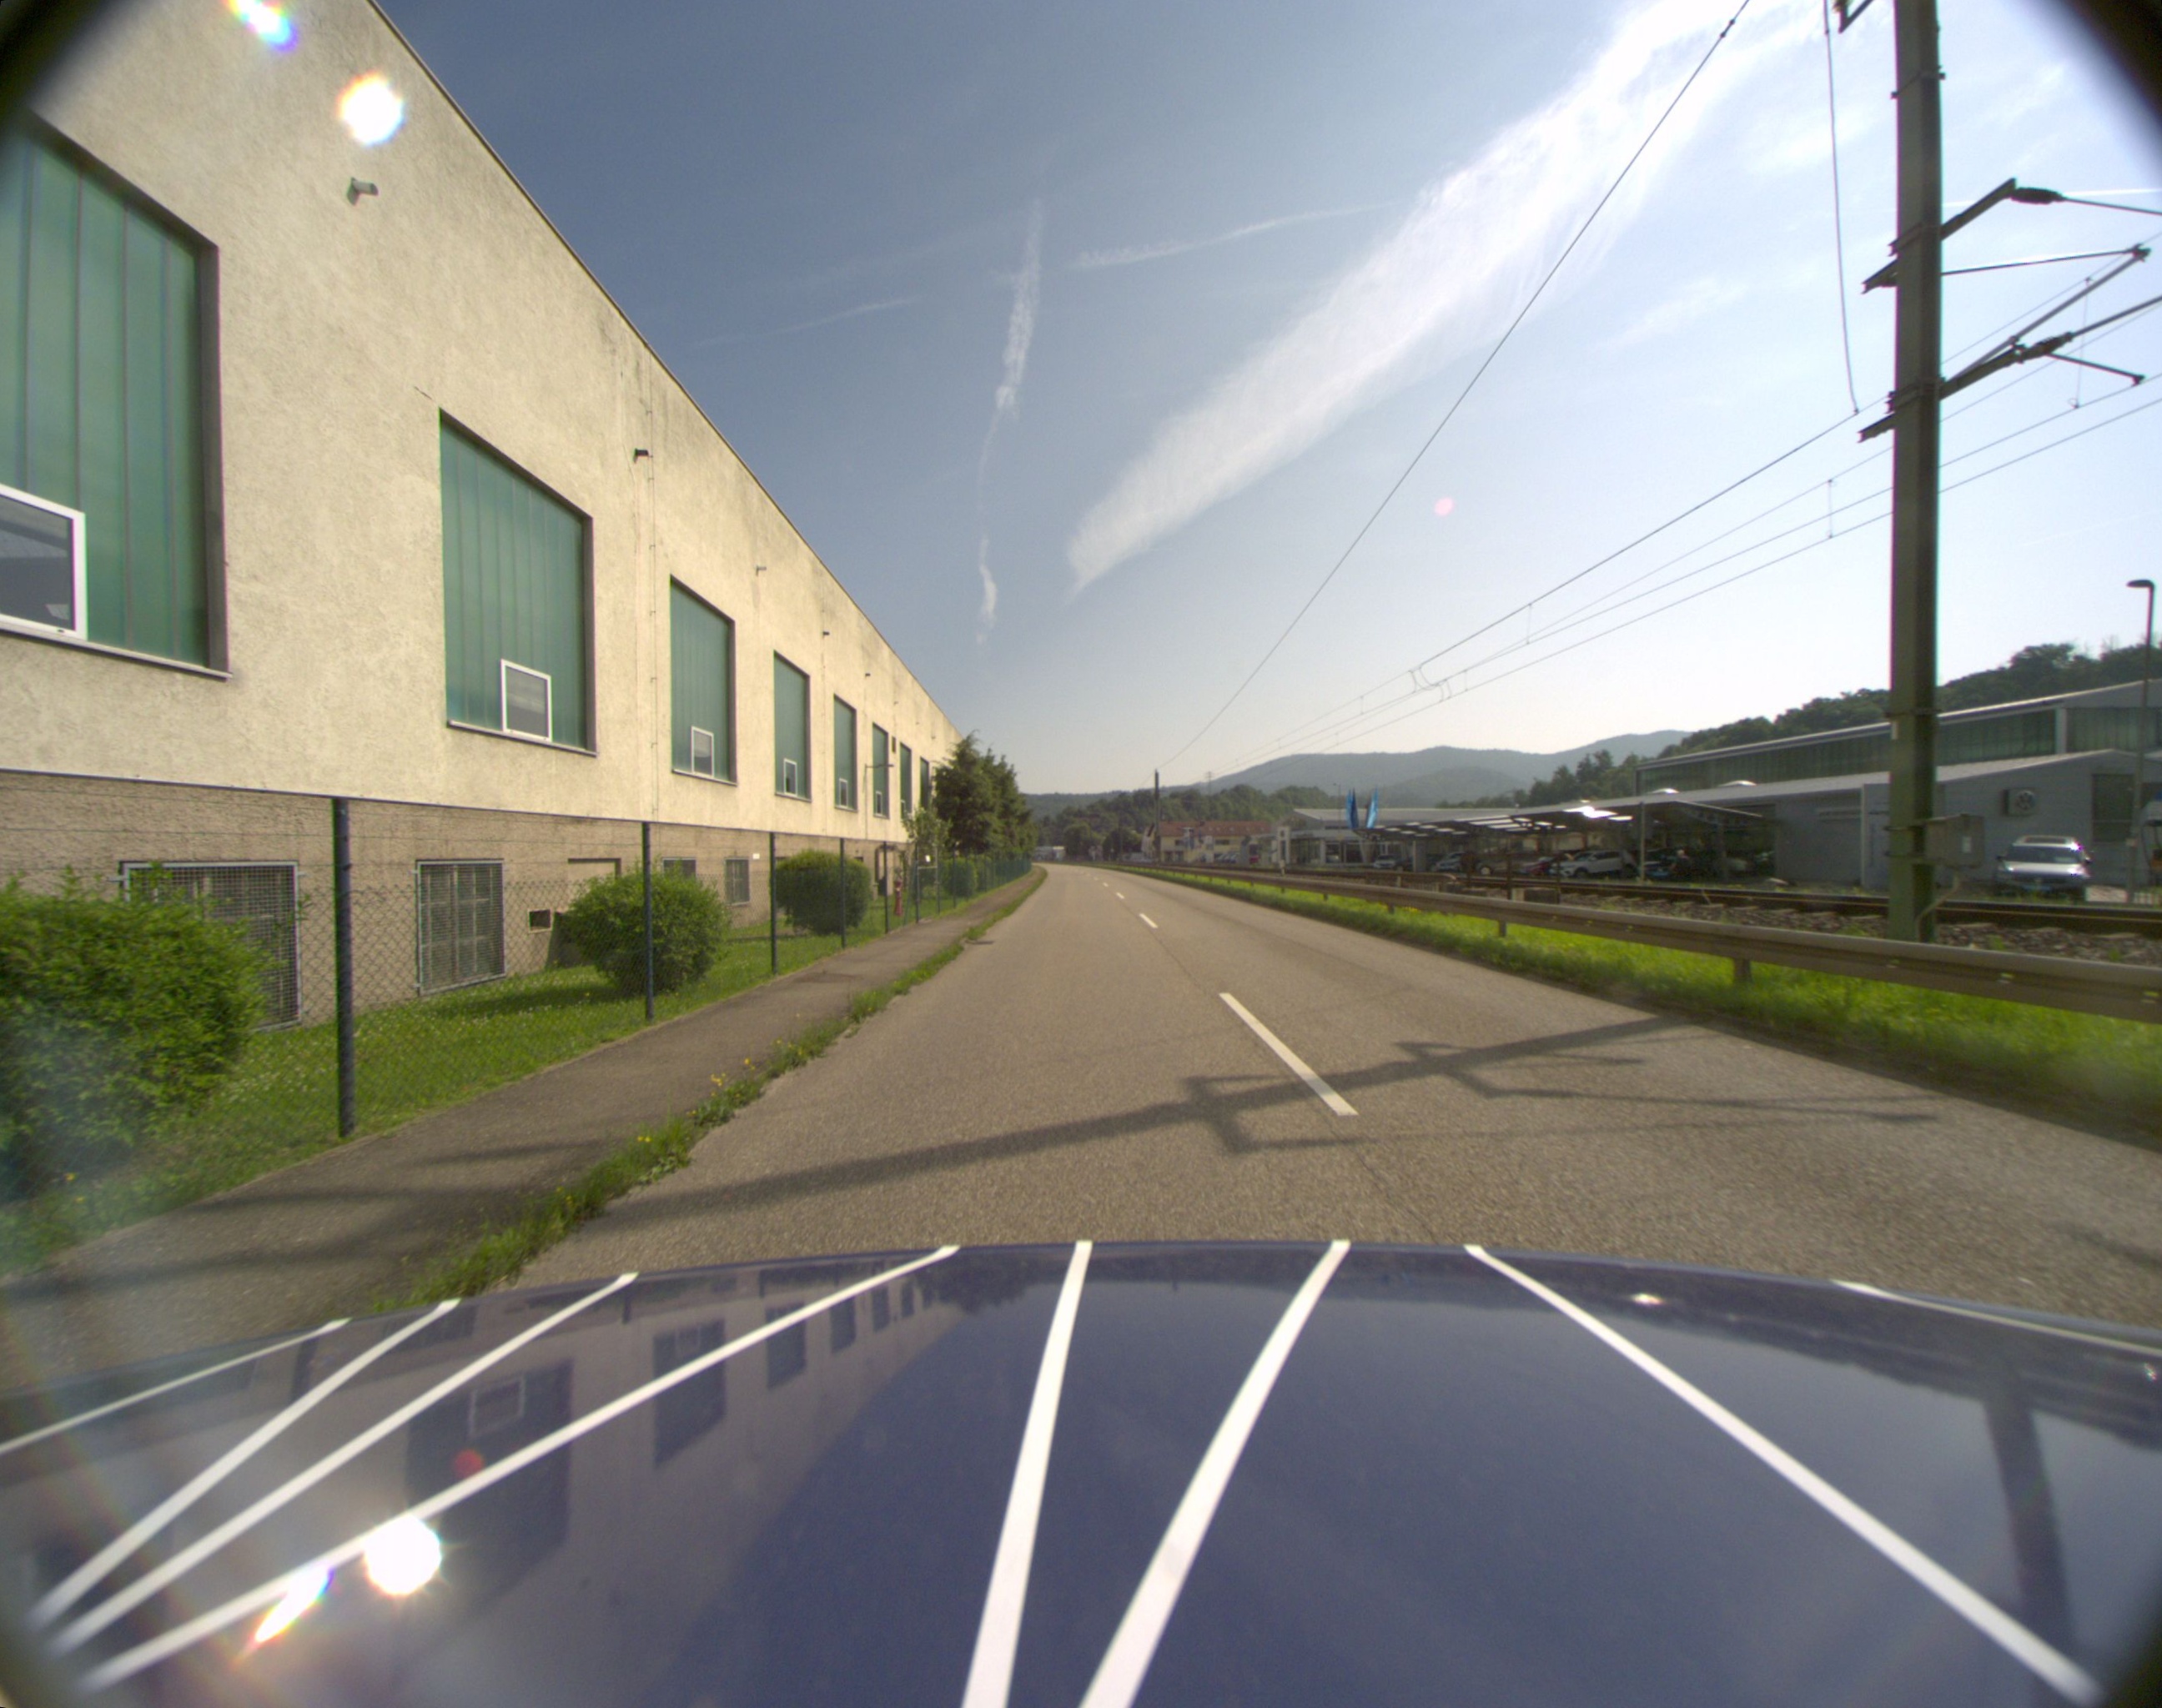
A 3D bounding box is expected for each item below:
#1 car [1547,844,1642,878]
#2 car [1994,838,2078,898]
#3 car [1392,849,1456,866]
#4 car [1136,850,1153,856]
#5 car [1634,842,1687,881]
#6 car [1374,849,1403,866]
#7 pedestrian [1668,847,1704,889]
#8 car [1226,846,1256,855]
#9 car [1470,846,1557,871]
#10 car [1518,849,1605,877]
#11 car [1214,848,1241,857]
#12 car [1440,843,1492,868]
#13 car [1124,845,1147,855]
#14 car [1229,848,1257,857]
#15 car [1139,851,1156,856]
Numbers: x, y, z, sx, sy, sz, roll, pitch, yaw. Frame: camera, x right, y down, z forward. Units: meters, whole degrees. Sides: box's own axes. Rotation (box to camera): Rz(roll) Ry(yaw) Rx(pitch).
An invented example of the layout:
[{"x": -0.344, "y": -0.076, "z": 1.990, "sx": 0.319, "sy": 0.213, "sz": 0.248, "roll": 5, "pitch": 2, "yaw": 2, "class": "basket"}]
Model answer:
[{"x": 27.430, "y": 0.354, "z": 40.674, "sx": 3.967, "sy": 1.519, "sz": 1.662, "roll": -4, "pitch": 0, "yaw": -3, "class": "car"}, {"x": 30.980, "y": 0.407, "z": 24.617, "sx": 4.005, "sy": 1.522, "sz": 1.519, "roll": -6, "pitch": 3, "yaw": -36, "class": "car"}, {"x": 27.006, "y": 0.293, "z": 59.909, "sx": 1.851, "sy": 1.334, "sz": 4.196, "roll": -1, "pitch": 0, "yaw": -43, "class": "car"}, {"x": 15.253, "y": -0.300, "z": 183.286, "sx": 3.859, "sy": 1.292, "sz": 1.647, "roll": -1, "pitch": 0, "yaw": -9, "class": "car"}, {"x": 27.660, "y": 0.333, "z": 36.215, "sx": 1.659, "sy": 1.613, "sz": 4.039, "roll": -3, "pitch": 0, "yaw": 41, "class": "car"}, {"x": 26.441, "y": 0.289, "z": 65.255, "sx": 1.842, "sy": 1.377, "sz": 4.531, "roll": -1, "pitch": 0, "yaw": 28, "class": "car"}, {"x": 25.316, "y": 0.586, "z": 31.808, "sx": 0.804, "sy": 1.724, "sz": 0.835, "roll": 0, "pitch": 0, "yaw": -9, "class": "pedestrian"}, {"x": 24.170, "y": -0.506, "z": 114.865, "sx": 4.000, "sy": 1.367, "sz": 1.859, "roll": 0, "pitch": 0, "yaw": -9, "class": "car"}, {"x": 27.434, "y": 0.280, "z": 48.310, "sx": 1.851, "sy": 1.496, "sz": 4.422, "roll": -1, "pitch": 0, "yaw": -39, "class": "car"}, {"x": 27.363, "y": 0.495, "z": 43.319, "sx": 3.967, "sy": 1.317, "sz": 1.501, "roll": -4, "pitch": 0, "yaw": -3, "class": "car"}, {"x": 24.723, "y": -0.288, "z": 128.291, "sx": 3.998, "sy": 1.451, "sz": 1.760, "roll": 0, "pitch": 0, "yaw": -4, "class": "car"}, {"x": 27.711, "y": 0.120, "z": 54.665, "sx": 4.279, "sy": 1.519, "sz": 1.842, "roll": -4, "pitch": 0, "yaw": -42, "class": "car"}, {"x": 14.368, "y": -1.033, "z": 199.419, "sx": 5.589, "sy": 2.402, "sz": 2.235, "roll": -1, "pitch": 0, "yaw": -7, "class": "car"}, {"x": 25.439, "y": -0.229, "z": 119.466, "sx": 4.002, "sy": 1.451, "sz": 1.758, "roll": 0, "pitch": 0, "yaw": -15, "class": "car"}, {"x": 15.786, "y": -0.146, "z": 180.661, "sx": 3.859, "sy": 1.292, "sz": 1.647, "roll": -1, "pitch": 0, "yaw": -9, "class": "car"}]
